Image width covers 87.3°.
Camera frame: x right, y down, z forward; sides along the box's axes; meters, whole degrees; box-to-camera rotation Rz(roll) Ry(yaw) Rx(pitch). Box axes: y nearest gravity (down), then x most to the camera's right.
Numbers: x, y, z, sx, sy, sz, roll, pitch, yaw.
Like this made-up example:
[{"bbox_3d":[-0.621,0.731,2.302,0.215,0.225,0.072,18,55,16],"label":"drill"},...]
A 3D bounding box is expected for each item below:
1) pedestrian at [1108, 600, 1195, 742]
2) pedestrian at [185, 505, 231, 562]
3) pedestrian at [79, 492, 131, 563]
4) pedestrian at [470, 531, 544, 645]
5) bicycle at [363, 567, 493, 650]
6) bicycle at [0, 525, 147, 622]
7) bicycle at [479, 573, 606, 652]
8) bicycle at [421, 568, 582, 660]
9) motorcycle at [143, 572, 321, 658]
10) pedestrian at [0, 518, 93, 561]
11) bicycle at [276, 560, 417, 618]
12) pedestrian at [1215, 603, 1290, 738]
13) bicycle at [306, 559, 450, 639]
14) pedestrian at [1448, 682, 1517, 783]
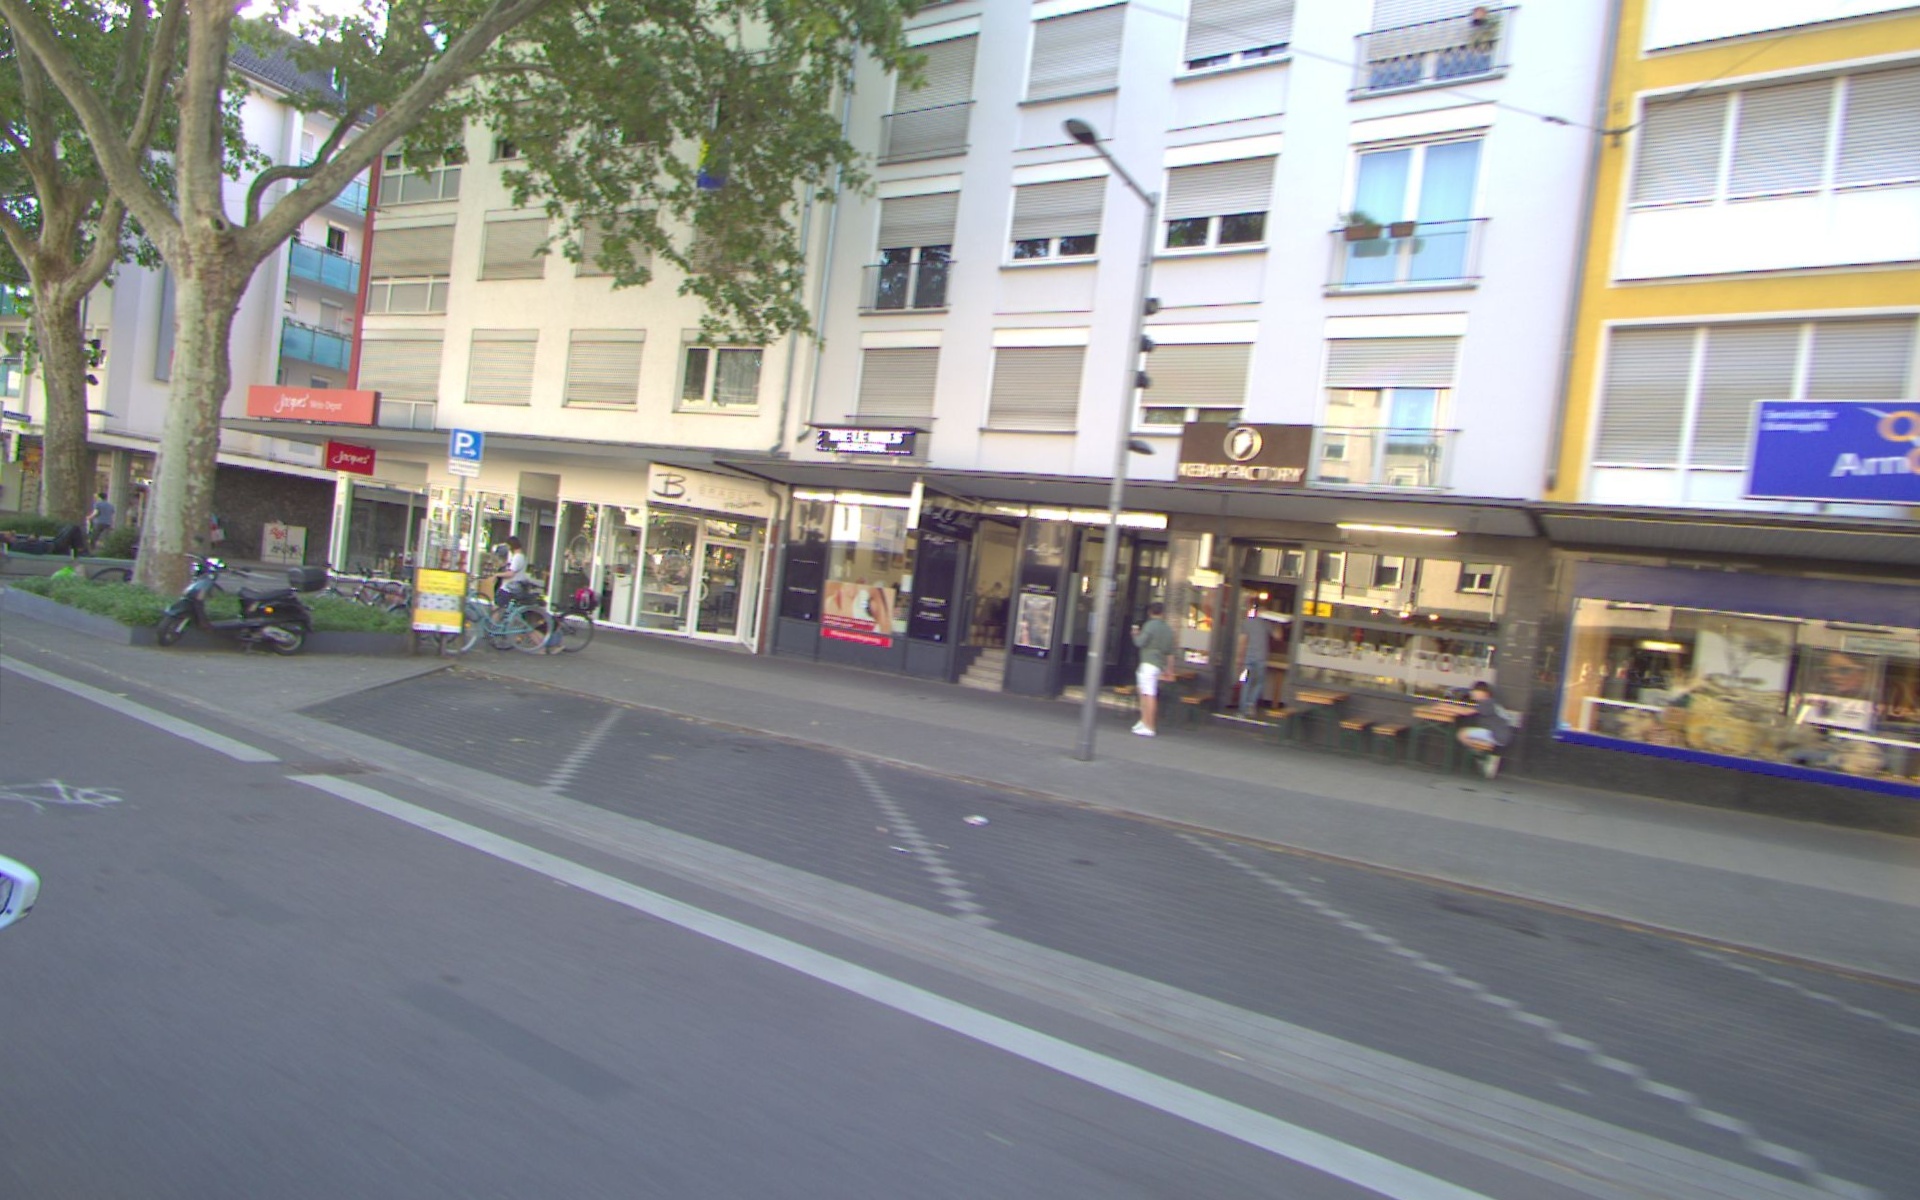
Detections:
[{"bbox_3d":[2.611,0.945,13.720,0.776,1.816,0.705,7,4,37],"label":"pedestrian"},{"bbox_3d":[-24.764,-2.194,33.132,0.820,1.700,0.749,9,2,25],"label":"pedestrian"},{"bbox_3d":[-23.625,-2.006,27.812,0.751,1.816,0.781,7,1,31],"label":"pedestrian"},{"bbox_3d":[-7.988,-0.197,17.748,0.809,1.900,0.645,7,1,18],"label":"pedestrian"},{"bbox_3d":[-8.492,0.127,16.147,0.660,1.205,1.788,6,3,23],"label":"bicycle"},{"bbox_3d":[-12.607,-0.348,14.250,0.453,1.117,1.513,7,-3,32],"label":"bicycle"},{"bbox_3d":[-6.910,0.224,16.709,0.668,1.169,1.761,7,2,40],"label":"bicycle"},{"bbox_3d":[-7.102,0.248,15.679,0.818,1.248,2.079,7,1,36],"label":"bicycle"},{"bbox_3d":[-8.567,0.200,11.905,0.535,0.903,1.573,7,0,28],"label":"motorcycle"},{"bbox_3d":[-16.924,-1.116,18.572,0.474,0.596,1.256,7,-1,29],"label":"pedestrian"},{"bbox_3d":[-10.372,-0.171,17.071,0.701,0.775,1.874,7,0,39],"label":"bicycle"},{"bbox_3d":[4.424,1.055,15.205,0.724,1.900,0.912,7,1,28],"label":"pedestrian"},{"bbox_3d":[-9.471,0.002,16.436,0.701,1.205,1.872,7,3,39],"label":"bicycle"},{"bbox_3d":[6.644,1.670,12.794,0.615,1.172,0.418,7,1,35],"label":"pedestrian"}]
